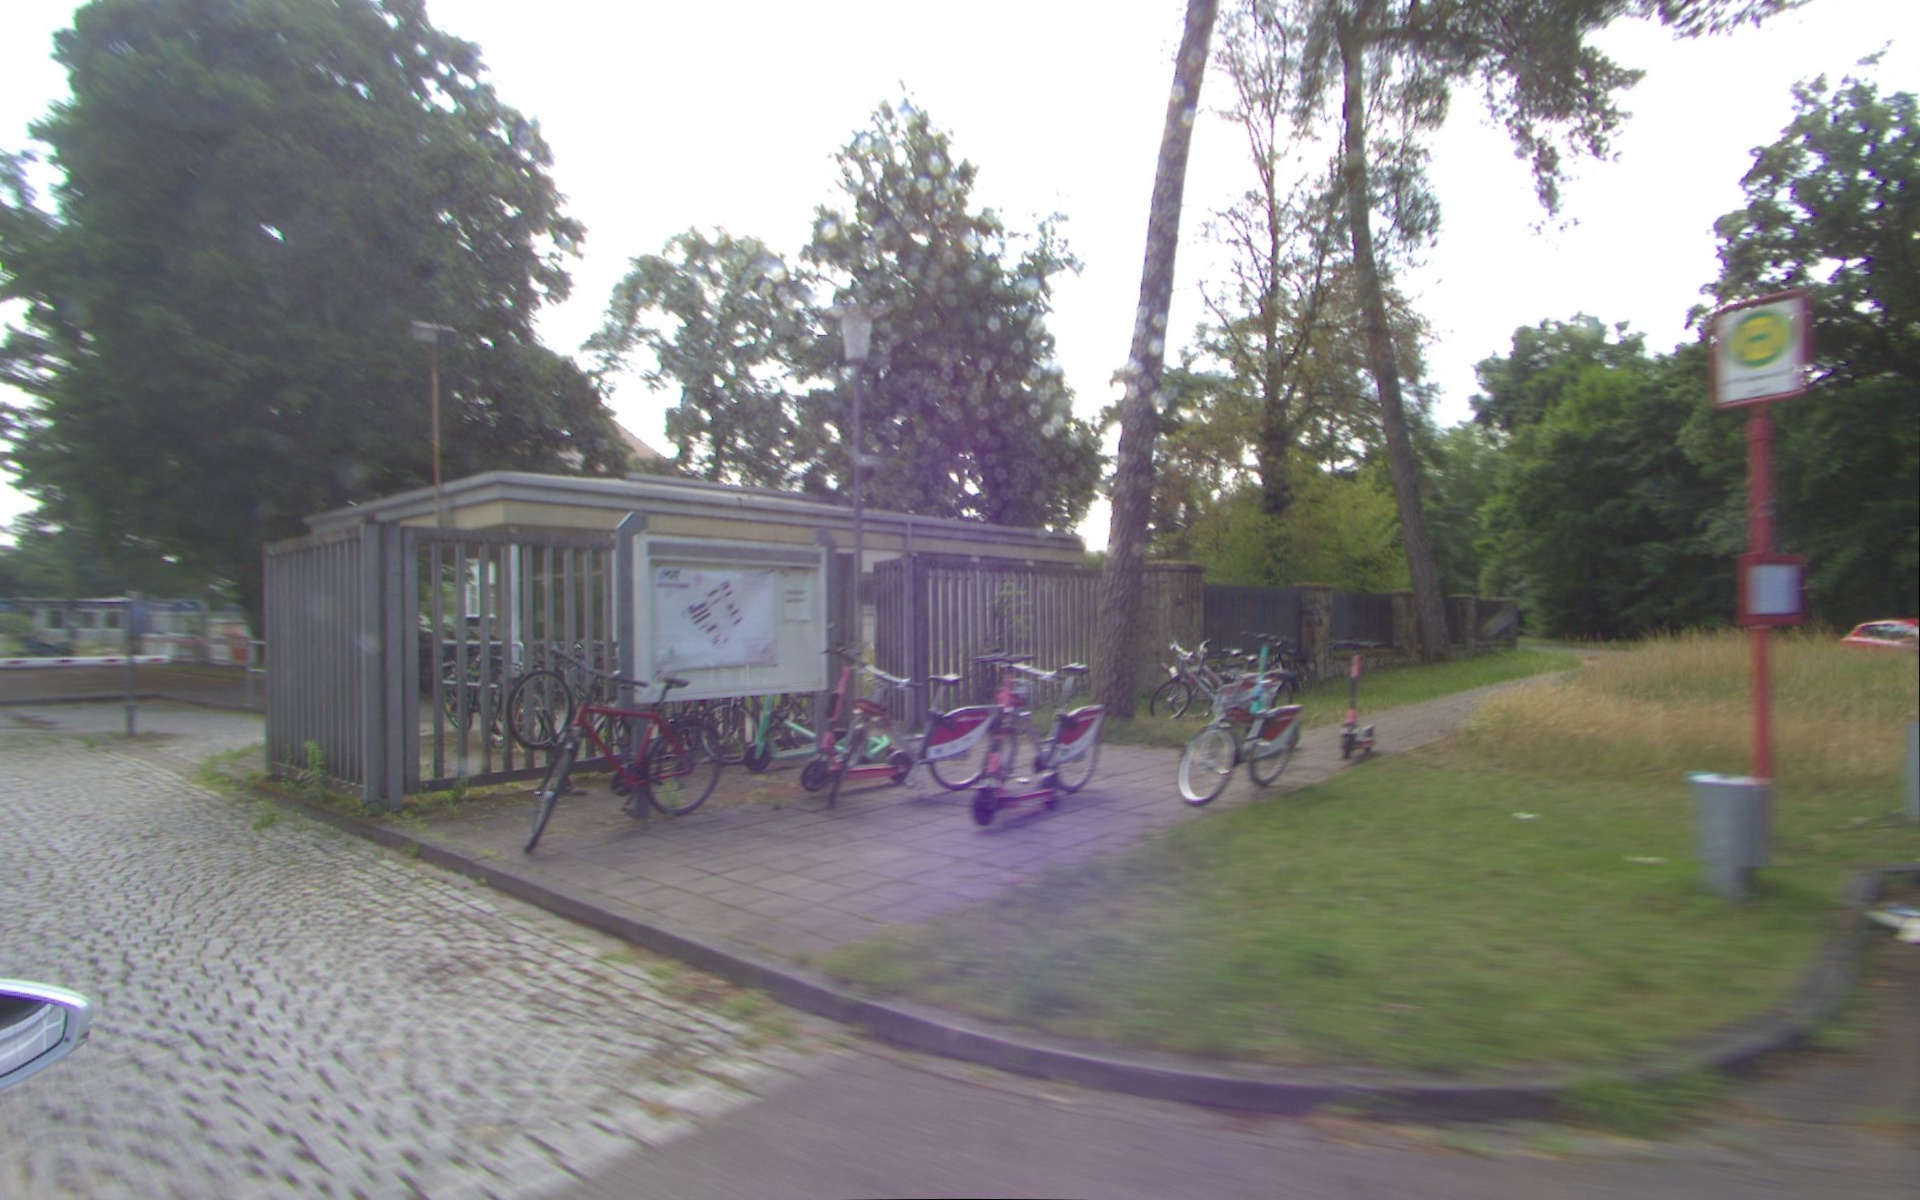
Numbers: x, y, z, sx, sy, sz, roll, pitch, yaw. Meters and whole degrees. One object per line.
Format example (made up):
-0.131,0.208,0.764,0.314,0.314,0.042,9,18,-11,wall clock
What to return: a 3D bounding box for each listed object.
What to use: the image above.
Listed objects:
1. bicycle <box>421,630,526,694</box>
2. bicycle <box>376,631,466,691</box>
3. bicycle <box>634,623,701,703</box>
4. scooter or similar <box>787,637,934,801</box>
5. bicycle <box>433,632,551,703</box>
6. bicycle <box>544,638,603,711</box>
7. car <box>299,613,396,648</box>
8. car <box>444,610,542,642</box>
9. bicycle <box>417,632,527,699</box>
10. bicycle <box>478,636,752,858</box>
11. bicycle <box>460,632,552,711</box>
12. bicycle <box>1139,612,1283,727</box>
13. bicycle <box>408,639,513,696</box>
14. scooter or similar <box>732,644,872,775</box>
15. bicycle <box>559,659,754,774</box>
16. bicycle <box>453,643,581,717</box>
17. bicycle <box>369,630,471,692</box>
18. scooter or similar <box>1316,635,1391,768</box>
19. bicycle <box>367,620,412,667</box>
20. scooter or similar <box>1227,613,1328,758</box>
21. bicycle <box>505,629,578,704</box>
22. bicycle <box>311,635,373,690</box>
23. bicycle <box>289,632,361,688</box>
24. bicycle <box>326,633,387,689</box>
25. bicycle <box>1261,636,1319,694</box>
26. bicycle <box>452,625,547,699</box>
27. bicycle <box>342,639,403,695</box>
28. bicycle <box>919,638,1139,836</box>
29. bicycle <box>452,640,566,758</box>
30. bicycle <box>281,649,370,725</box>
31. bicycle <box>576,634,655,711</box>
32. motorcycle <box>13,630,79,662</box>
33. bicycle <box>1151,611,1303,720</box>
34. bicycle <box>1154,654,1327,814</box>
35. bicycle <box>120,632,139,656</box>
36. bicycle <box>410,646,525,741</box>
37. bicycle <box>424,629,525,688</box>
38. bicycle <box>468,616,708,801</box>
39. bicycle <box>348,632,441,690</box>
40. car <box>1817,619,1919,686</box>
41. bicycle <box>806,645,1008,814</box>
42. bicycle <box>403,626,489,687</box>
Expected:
-9.589,1.206,19.812,0.395,1.185,1.977,-3,-2,29,bicycle
-11.451,1.276,21.349,0.489,1.185,1.803,-3,-2,20,bicycle
-4.647,0.994,15.851,0.431,1.185,1.713,-1,-2,-36,bicycle
-0.825,0.966,8.533,1.271,1.262,0.382,-1,0,-43,scooter or similar
-8.431,1.195,18.113,0.479,1.185,1.943,-3,-2,34,bicycle
-6.392,1.203,16.617,0.428,1.133,1.654,-2,-2,-4,bicycle
-33.804,1.682,55.332,1.978,1.843,4.198,-2,-2,42,car
-26.147,1.491,56.121,4.750,1.671,1.999,-1,-2,12,car
-9.309,1.234,19.188,0.395,1.185,2.014,-3,-2,29,bicycle
-2.350,0.931,7.019,0.664,1.294,1.728,-1,0,36,bicycle
-7.491,1.155,16.593,0.428,1.186,1.651,-2,-1,12,bicycle
3.340,0.892,13.334,1.769,1.436,0.587,0,0,26,bicycle
-9.953,1.330,20.023,0.395,1.042,1.977,-3,-2,29,bicycle
-1.483,1.008,9.425,1.229,1.165,0.438,0,-1,13,scooter or similar
-2.998,1.124,10.077,0.452,0.980,1.936,-1,-1,42,bicycle
-7.837,1.389,17.794,0.480,1.185,2.062,-3,-2,39,bicycle
-11.042,1.235,20.526,0.575,1.185,1.799,-3,-2,28,bicycle
4.030,1.002,10.227,0.433,1.244,1.083,-2,0,35,scooter or similar
-14.984,1.149,26.266,1.537,1.185,0.502,-4,-2,40,bicycle
3.362,0.863,10.554,0.524,1.435,1.242,-2,-1,41,scooter or similar
-6.971,1.087,16.743,0.428,1.185,1.654,-2,-2,2,bicycle
-13.799,1.376,22.385,0.352,1.185,1.383,-2,-2,8,bicycle
-14.324,1.338,22.624,0.426,1.186,1.380,-1,0,19,bicycle
-13.410,1.344,22.295,0.352,1.185,1.383,-2,-2,8,bicycle
6.307,1.213,19.060,0.369,1.029,1.938,0,-1,40,bicycle
-7.754,1.025,16.888,0.431,1.185,1.384,-3,-2,40,bicycle
-13.019,1.469,22.218,0.352,1.185,1.383,-2,-2,8,bicycle
0.606,0.950,7.705,0.627,1.256,2.160,-1,-1,36,bicycle
-5.091,1.067,11.263,1.696,1.186,0.499,0,1,41,bicycle
-10.098,1.351,15.919,1.694,1.086,0.726,-1,0,41,bicycle
-5.908,1.249,17.118,1.581,1.094,0.433,-13,-8,39,bicycle
-37.569,1.879,41.163,0.455,1.212,1.948,5,4,38,motorcycle
3.681,0.872,13.844,1.950,1.436,0.576,0,0,26,bicycle
2.319,1.023,8.153,0.732,1.098,1.670,-3,-2,39,bicycle
-36.858,1.973,44.432,1.706,1.020,0.330,-4,-2,40,bicycle
-6.165,1.127,12.514,1.576,1.071,0.726,-1,0,41,bicycle
-9.052,1.074,18.739,0.349,1.044,1.765,-3,-2,33,bicycle
-3.183,0.875,8.716,1.888,1.435,0.511,0,-2,-45,bicycle
-12.370,1.318,21.955,0.354,1.185,1.795,-3,-2,34,bicycle
22.597,1.185,23.296,1.961,1.483,4.204,-1,-1,6,car
-0.402,0.994,8.143,1.592,1.178,0.617,-1,1,-39,bicycle
-10.439,1.130,20.392,0.394,1.174,1.702,-3,-2,21,bicycle
